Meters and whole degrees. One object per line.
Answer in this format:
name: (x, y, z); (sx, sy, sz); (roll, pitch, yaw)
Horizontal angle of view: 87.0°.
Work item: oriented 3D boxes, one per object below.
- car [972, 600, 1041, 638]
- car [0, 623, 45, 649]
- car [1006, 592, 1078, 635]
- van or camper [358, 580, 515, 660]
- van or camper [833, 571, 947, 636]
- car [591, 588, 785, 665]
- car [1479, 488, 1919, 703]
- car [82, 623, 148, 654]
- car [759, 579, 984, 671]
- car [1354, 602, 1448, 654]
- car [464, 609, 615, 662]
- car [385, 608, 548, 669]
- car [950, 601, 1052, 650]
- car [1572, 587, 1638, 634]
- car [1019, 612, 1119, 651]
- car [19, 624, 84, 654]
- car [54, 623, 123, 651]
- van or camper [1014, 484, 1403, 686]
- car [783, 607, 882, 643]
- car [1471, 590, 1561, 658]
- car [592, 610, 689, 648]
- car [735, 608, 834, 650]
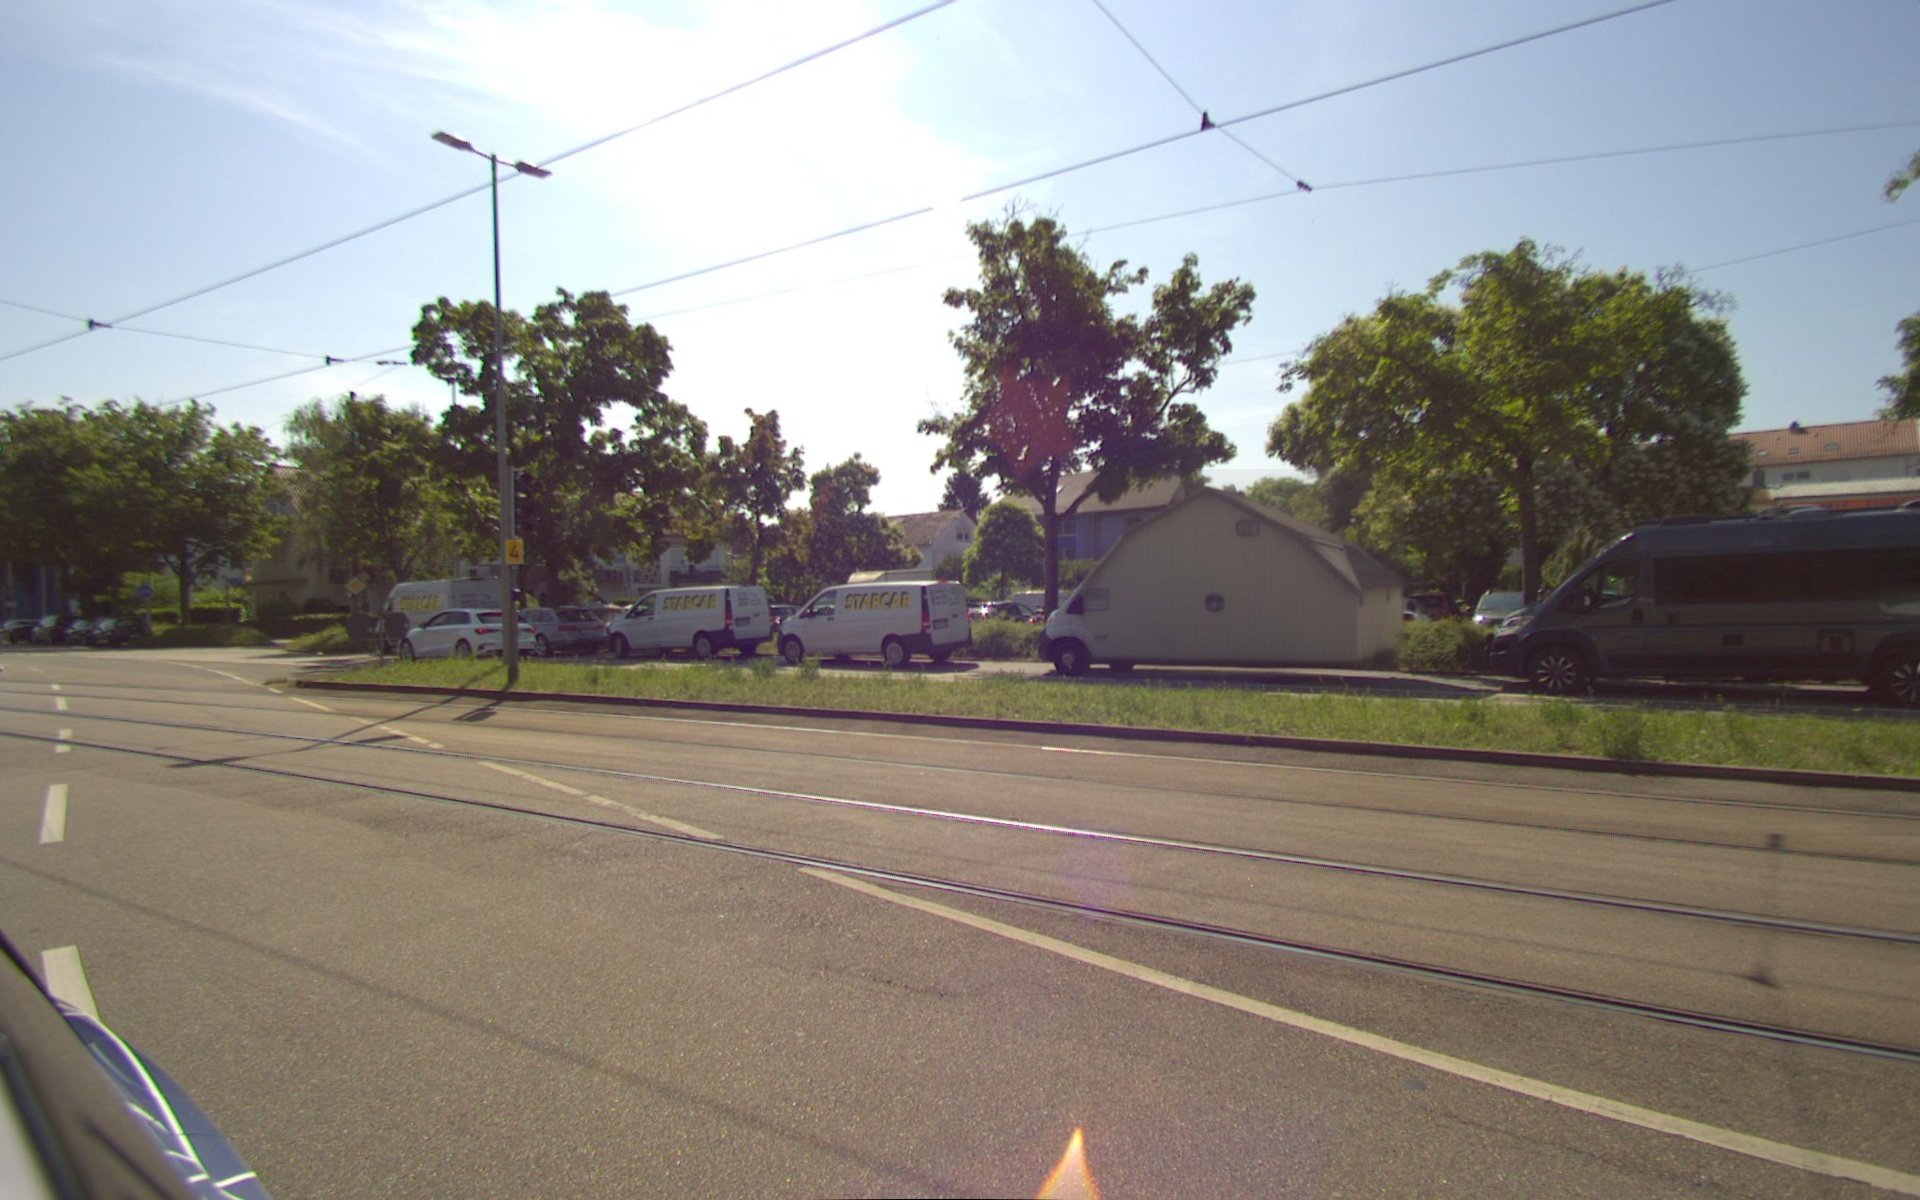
car: (2.307, 0.903, 49.648); (1.729, 1.741, 3.959); (-1, -1, 30)
car: (-57.093, 2.160, 61.073); (4.443, 1.447, 1.662); (-1, -1, 32)
car: (3.873, 0.615, 47.140); (1.778, 1.905, 3.959); (-1, -1, 30)
van or camper: (-18.005, 0.699, 34.646); (6.134, 2.534, 2.237); (-2, -1, 36)
van or camper: (-3.639, 0.215, 54.458); (2.573, 3.269, 6.897); (-1, -1, 32)
car: (-7.623, 0.721, 28.247); (5.164, 1.955, 2.181); (-1, 1, 30)
car: (11.071, -0.056, 14.665); (6.064, 2.688, 2.178); (-2, 1, 35)
car: (-42.850, 1.950, 51.307); (4.074, 1.461, 1.601); (-2, -1, 35)
car: (-2.200, 0.572, 24.330); (5.173, 1.955, 2.177); (-1, 1, 35)
car: (11.899, 0.709, 27.184); (1.659, 1.280, 3.955); (-1, -1, 33)
car: (-13.034, 1.066, 31.265); (4.872, 1.465, 1.916); (-1, 1, 34)
car: (-12.699, 0.962, 25.970); (4.321, 1.433, 1.778); (-1, 0, 32)
car: (1.451, 0.835, 34.283); (1.659, 1.556, 3.955); (-1, -1, 33)
car: (22.791, 0.377, 35.883); (1.778, 1.556, 3.959); (-1, -1, 30)
car: (3.605, 0.992, 32.927); (1.659, 1.162, 3.857); (-1, -1, 33)
car: (-51.485, 2.185, 57.358); (4.229, 1.625, 1.662); (-1, 0, 32)
car: (-46.781, 1.969, 54.296); (4.569, 1.405, 1.683); (-2, -1, 34)
van or camper: (4.496, -0.212, 19.156); (6.757, 3.265, 2.177); (-1, 1, 36)
car: (-4.857, 0.946, 39.036); (1.659, 1.280, 3.884); (-1, -1, 33)
car: (13.945, 0.556, 25.286); (1.659, 1.556, 3.955); (-1, -1, 33)
car: (-14.000, 1.244, 44.525); (1.658, 1.556, 3.956); (-1, -1, 32)
car: (-6.936, 1.117, 40.345); (1.659, 1.556, 3.955); (-1, -1, 33)
